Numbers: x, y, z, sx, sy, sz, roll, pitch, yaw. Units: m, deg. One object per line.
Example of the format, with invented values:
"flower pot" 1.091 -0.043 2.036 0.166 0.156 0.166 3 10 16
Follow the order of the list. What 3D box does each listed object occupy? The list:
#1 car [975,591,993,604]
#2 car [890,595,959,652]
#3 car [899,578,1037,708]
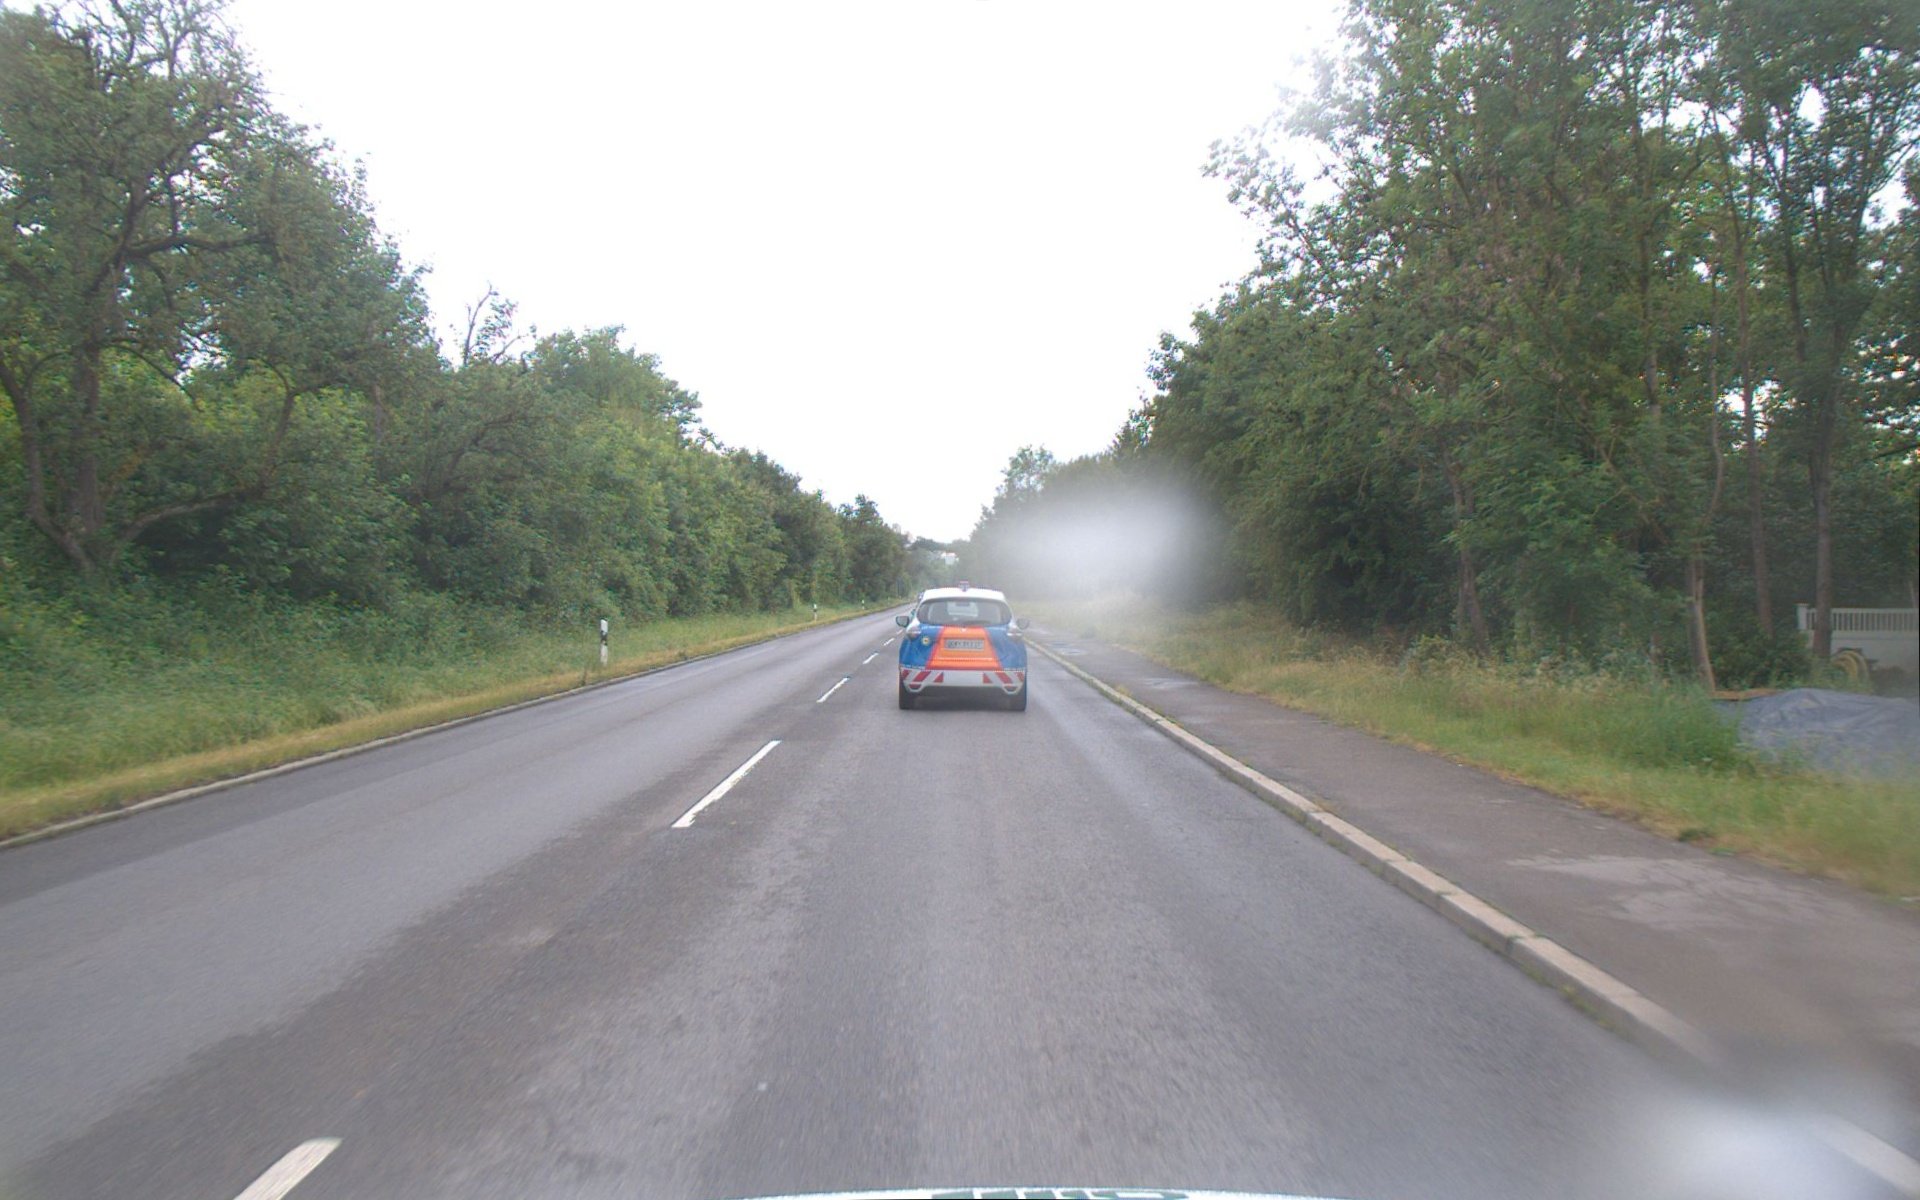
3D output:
"car" 2.731 -0.288 189.980 1.953 1.400 4.000 -1 0 0
"car" -0.823 0.538 40.119 1.566 1.309 3.476 -1 0 0
"car" 0.083 0.515 22.681 1.716 1.582 3.792 1 1 -1
